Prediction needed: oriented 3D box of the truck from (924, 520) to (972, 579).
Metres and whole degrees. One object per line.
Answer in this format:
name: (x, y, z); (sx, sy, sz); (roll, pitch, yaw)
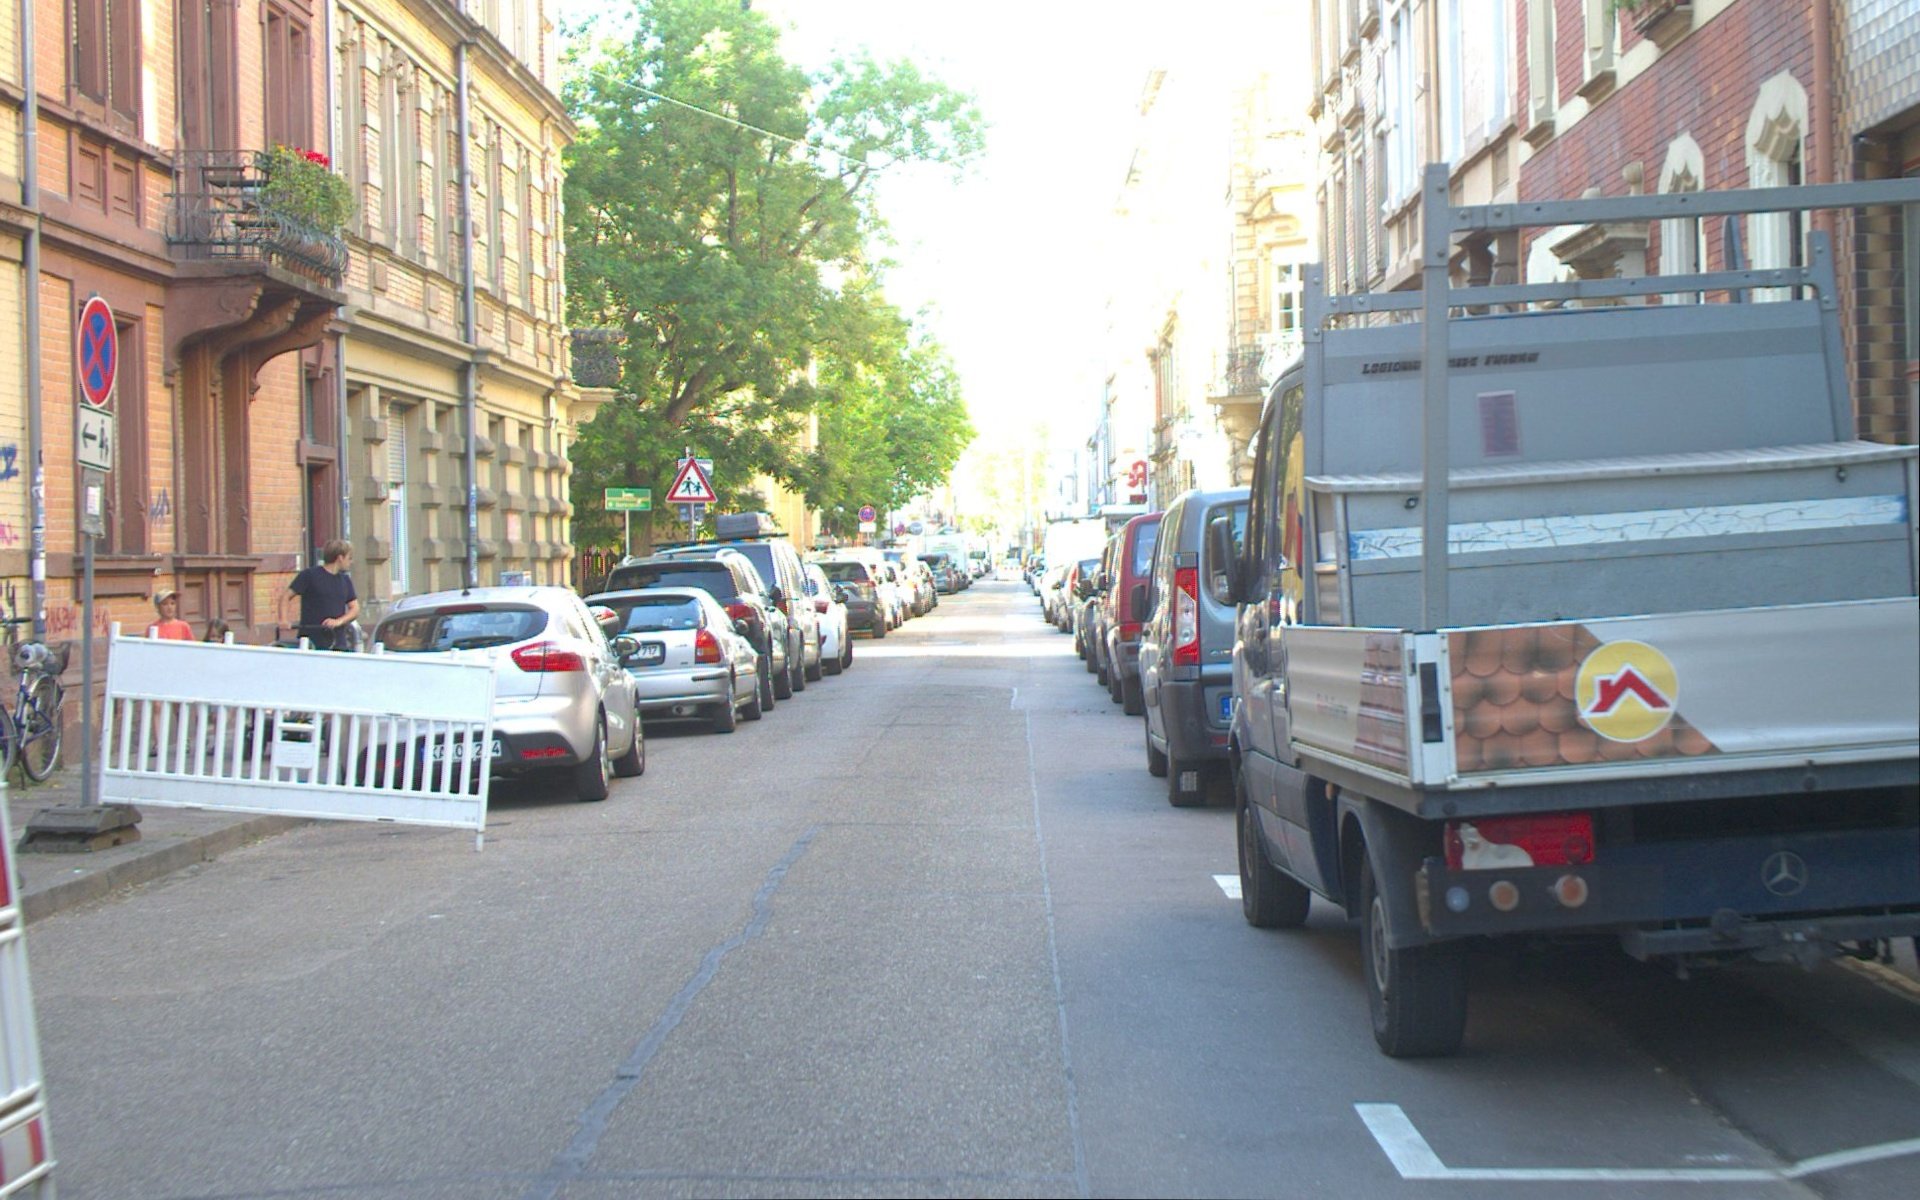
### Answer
truck: (-0.654, -2.873, 196.639); (2.532, 3.270, 6.994); (-1, 1, 1)

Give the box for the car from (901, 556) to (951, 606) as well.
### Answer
car: (-1.164, -0.668, 119.292); (1.600, 1.609, 3.808); (-3, 0, 0)

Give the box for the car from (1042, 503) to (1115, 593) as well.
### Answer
car: (3.463, -1.542, 101.721); (2.068, 2.602, 5.888); (0, 1, 1)

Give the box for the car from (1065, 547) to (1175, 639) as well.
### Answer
car: (2.635, -0.132, 57.455); (1.706, 1.454, 4.511); (1, 1, 1)

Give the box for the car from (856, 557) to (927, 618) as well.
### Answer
car: (-1.819, -0.353, 91.830); (1.742, 1.581, 3.869); (0, 1, 1)

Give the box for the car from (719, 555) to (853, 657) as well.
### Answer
car: (-2.598, 0.066, 52.229); (1.722, 1.476, 4.089); (1, 1, 1)

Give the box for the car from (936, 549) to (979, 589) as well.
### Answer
car: (-0.113, -1.420, 158.193); (1.875, 1.790, 4.000); (-1, 1, 1)

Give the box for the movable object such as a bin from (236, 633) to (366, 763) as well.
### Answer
movable object such as a bin: (-5.029, 0.735, 26.294); (0.761, 0.929, 1.415); (-1, 1, -2)

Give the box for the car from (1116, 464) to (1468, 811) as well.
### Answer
car: (2.041, 0.188, 22.370); (1.845, 1.977, 4.576); (2, 1, 1)

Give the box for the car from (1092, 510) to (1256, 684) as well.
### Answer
car: (2.529, -0.061, 41.483); (1.769, 1.954, 4.264); (1, 1, 1)

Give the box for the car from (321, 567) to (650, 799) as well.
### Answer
car: (-3.210, 0.510, 23.954); (1.674, 1.414, 4.000); (-2, 1, 0)

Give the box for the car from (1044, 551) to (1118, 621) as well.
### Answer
car: (3.051, -0.353, 87.031); (1.808, 1.684, 4.214); (1, 0, 2)

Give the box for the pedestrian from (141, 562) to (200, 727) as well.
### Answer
pedestrian: (-6.251, 0.348, 27.236); (0.393, 1.302, 0.432); (0, 0, -4)

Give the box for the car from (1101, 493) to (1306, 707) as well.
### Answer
car: (2.421, -0.031, 35.171); (1.832, 2.007, 4.742); (1, 1, 1)

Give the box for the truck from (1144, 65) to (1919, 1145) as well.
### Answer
truck: (2.067, -0.055, 11.928); (2.148, 2.648, 6.254); (-5, 1, -1)

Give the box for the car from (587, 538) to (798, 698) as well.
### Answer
car: (-2.858, 0.162, 37.648); (1.788, 1.619, 4.607); (1, 1, 2)

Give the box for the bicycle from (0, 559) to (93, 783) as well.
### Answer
bicycle: (-6.307, 0.448, 22.887); (0.524, 1.420, 1.712); (3, 0, 2)

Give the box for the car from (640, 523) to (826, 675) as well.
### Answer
car: (-2.795, -0.039, 43.213); (1.893, 1.778, 4.608); (1, 1, 2)

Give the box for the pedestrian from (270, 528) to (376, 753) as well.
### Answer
pedestrian: (-5.081, 0.313, 27.449); (0.685, 1.759, 0.887); (-1, 1, -2)

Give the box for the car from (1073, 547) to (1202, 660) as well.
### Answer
car: (2.432, 0.017, 47.690); (1.666, 1.474, 3.887); (-1, 1, 1)

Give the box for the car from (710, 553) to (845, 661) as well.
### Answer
car: (-2.495, 0.070, 47.646); (1.674, 1.416, 3.874); (1, 1, 0)

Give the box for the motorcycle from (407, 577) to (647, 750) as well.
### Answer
motorcycle: (-3.641, 0.539, 28.758); (0.842, 1.355, 2.196); (-4, 1, -41)

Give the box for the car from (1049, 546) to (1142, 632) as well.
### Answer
car: (2.818, -0.251, 72.224); (1.703, 1.708, 3.938); (-1, 1, -1)

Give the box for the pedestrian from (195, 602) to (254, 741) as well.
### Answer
pedestrian: (-5.805, 0.558, 27.141); (0.393, 1.083, 0.432); (0, 1, -4)

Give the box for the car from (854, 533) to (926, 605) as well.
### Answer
car: (-1.978, -0.888, 98.209); (1.864, 1.950, 4.610); (-2, 1, 0)

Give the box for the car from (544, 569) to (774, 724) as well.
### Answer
car: (-2.793, 0.402, 32.629); (1.698, 1.309, 4.000); (3, 0, 1)

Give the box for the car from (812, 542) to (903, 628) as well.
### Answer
car: (-2.032, -0.310, 68.636); (1.740, 1.641, 4.289); (-1, 1, -1)

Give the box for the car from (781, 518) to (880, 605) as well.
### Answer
car: (-2.837, -0.866, 76.319); (1.845, 1.856, 4.465); (-1, 1, 2)

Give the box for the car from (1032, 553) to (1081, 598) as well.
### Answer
car: (3.305, -0.861, 117.613); (1.604, 1.499, 4.000); (1, 1, 2)
